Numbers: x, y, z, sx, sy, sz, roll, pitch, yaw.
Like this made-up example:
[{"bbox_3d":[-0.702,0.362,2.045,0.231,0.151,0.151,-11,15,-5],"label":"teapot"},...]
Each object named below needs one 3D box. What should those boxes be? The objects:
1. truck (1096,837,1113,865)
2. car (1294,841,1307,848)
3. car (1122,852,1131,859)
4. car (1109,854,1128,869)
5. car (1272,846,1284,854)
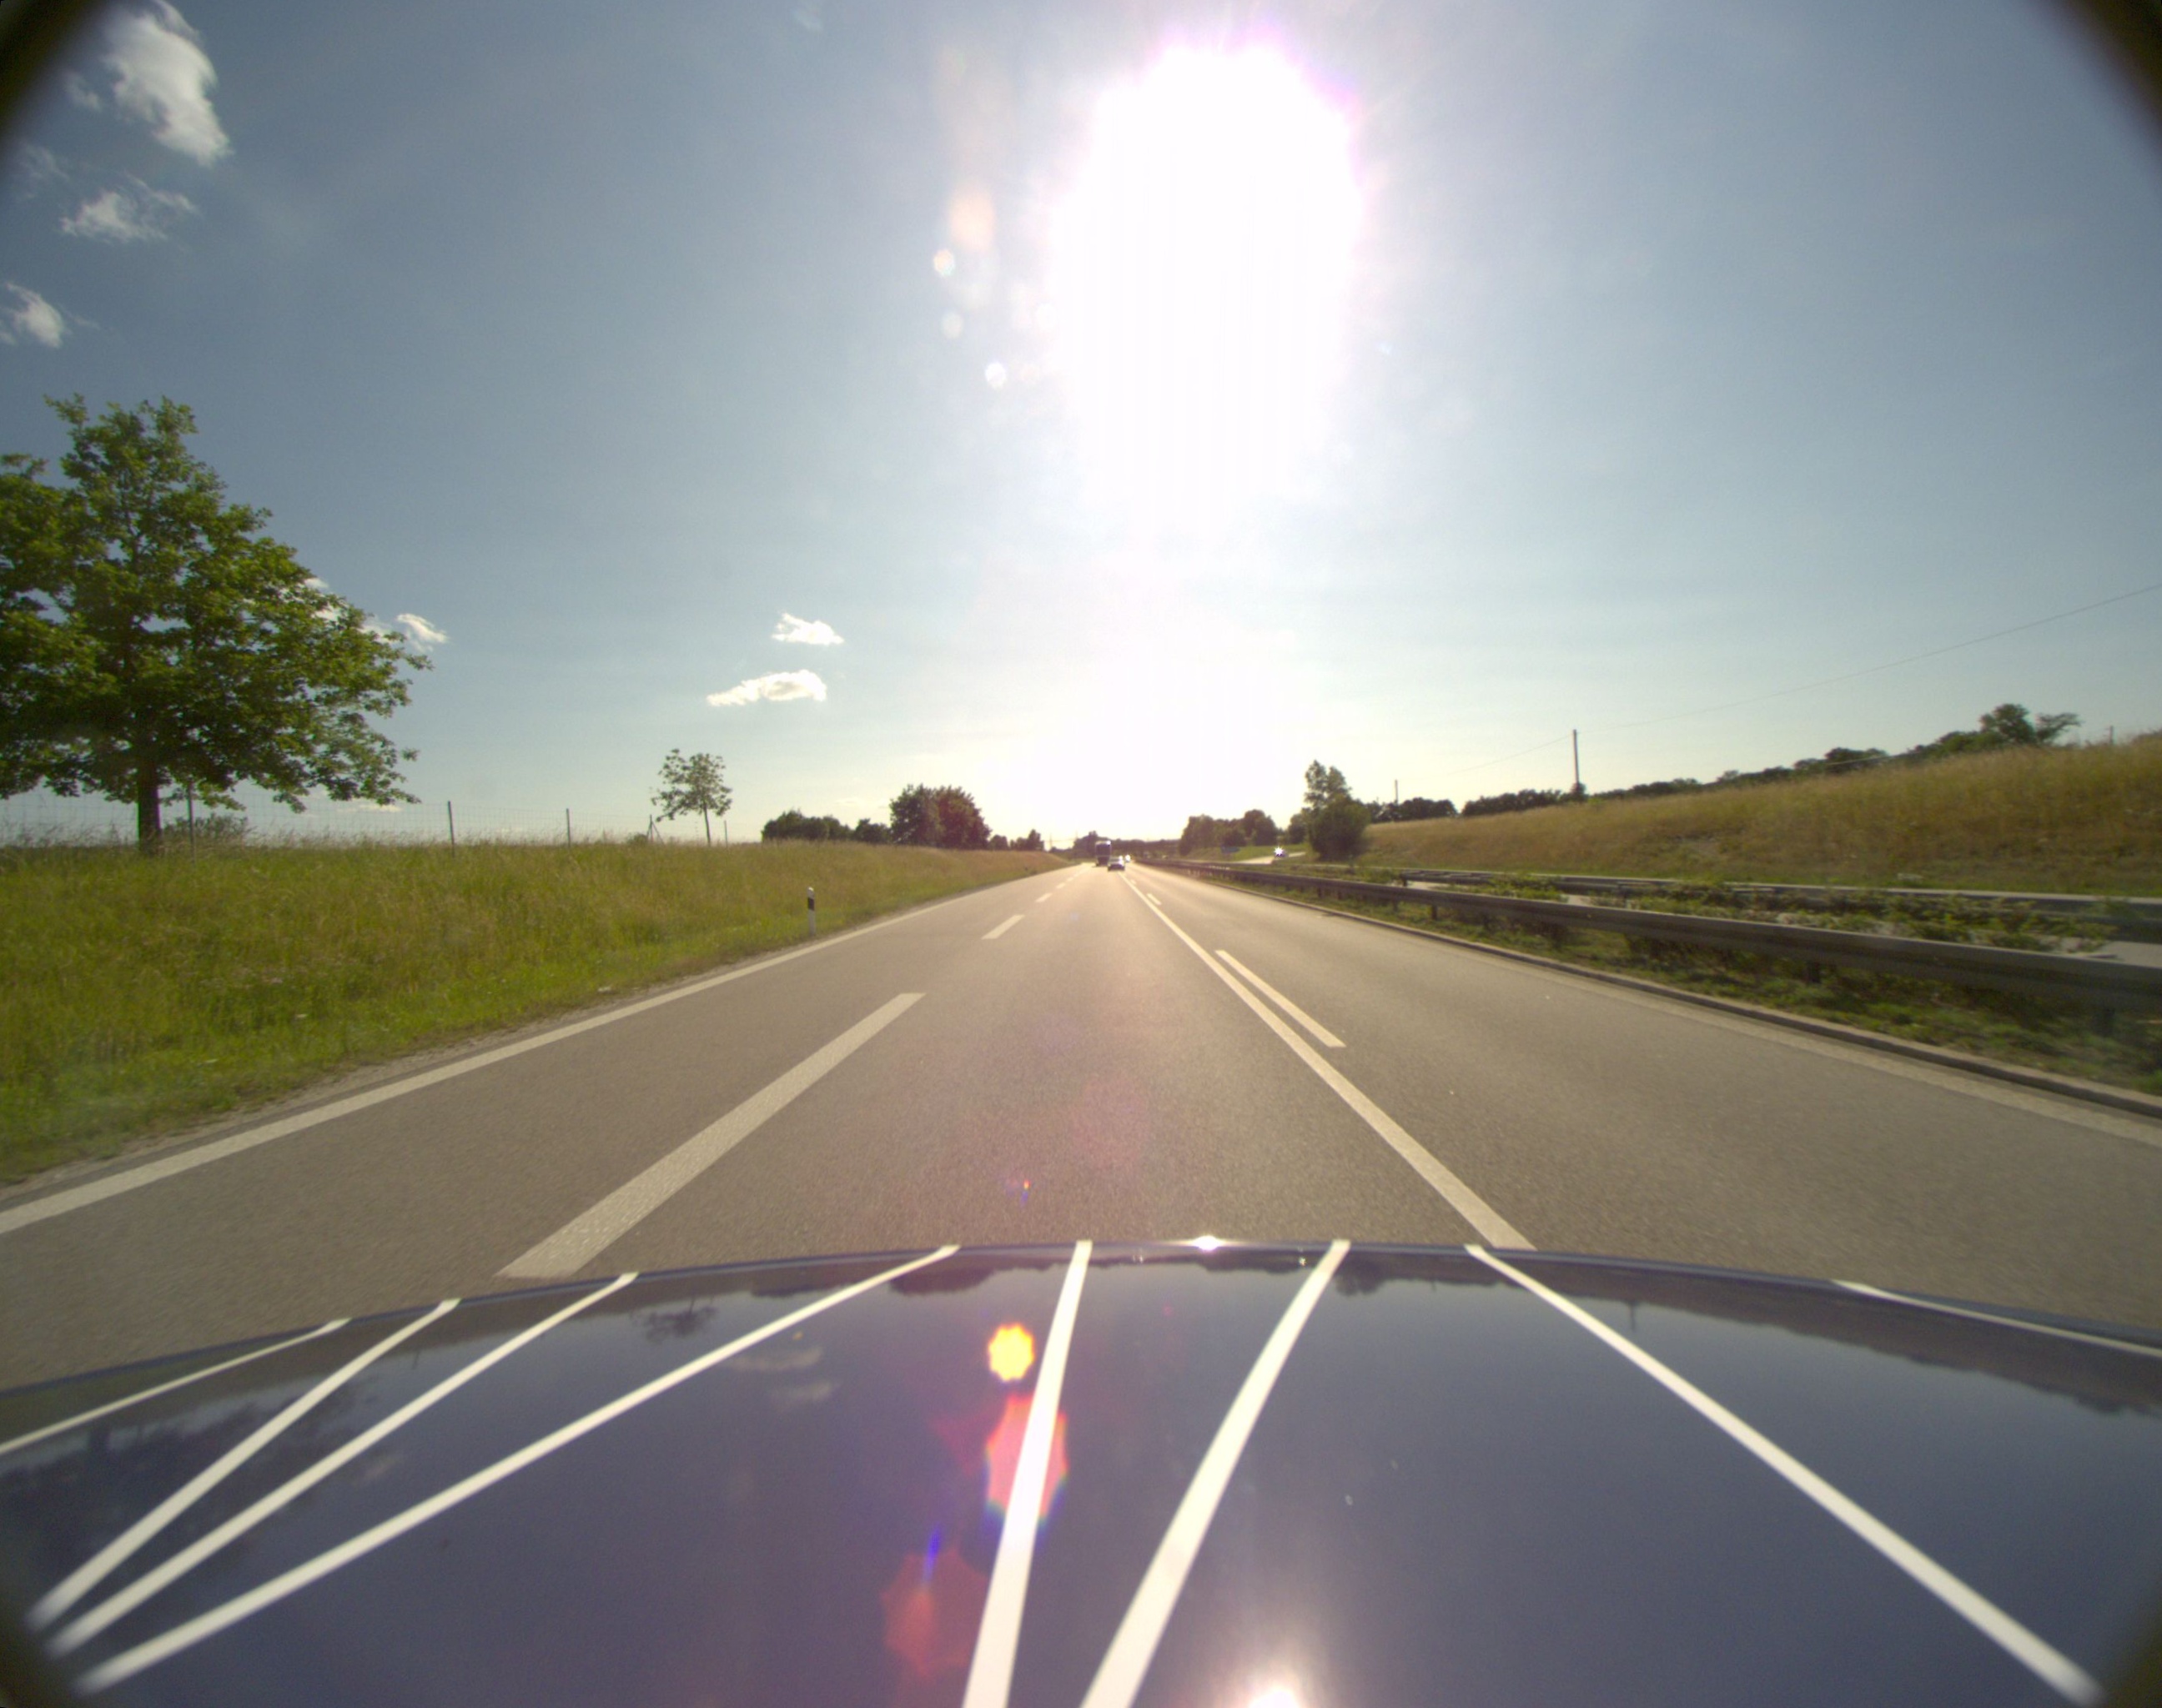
[{"bbox_3d":[3.828,-0.540,124.454,2.536,4.228,11.265,-2,1,2],"label":"truck"},{"bbox_3d":[46.904,-1.970,161.983,1.668,1.368,4.007,-2,1,31],"label":"car"},{"bbox_3d":[10.378,0.363,174.141,1.998,1.652,4.001,-1,0,4],"label":"car"},{"bbox_3d":[3.943,0.765,79.969,1.870,1.514,4.284,-1,0,3],"label":"car"},{"bbox_3d":[35.883,-0.726,138.244,1.669,1.368,4.005,-2,1,19],"label":"car"}]
